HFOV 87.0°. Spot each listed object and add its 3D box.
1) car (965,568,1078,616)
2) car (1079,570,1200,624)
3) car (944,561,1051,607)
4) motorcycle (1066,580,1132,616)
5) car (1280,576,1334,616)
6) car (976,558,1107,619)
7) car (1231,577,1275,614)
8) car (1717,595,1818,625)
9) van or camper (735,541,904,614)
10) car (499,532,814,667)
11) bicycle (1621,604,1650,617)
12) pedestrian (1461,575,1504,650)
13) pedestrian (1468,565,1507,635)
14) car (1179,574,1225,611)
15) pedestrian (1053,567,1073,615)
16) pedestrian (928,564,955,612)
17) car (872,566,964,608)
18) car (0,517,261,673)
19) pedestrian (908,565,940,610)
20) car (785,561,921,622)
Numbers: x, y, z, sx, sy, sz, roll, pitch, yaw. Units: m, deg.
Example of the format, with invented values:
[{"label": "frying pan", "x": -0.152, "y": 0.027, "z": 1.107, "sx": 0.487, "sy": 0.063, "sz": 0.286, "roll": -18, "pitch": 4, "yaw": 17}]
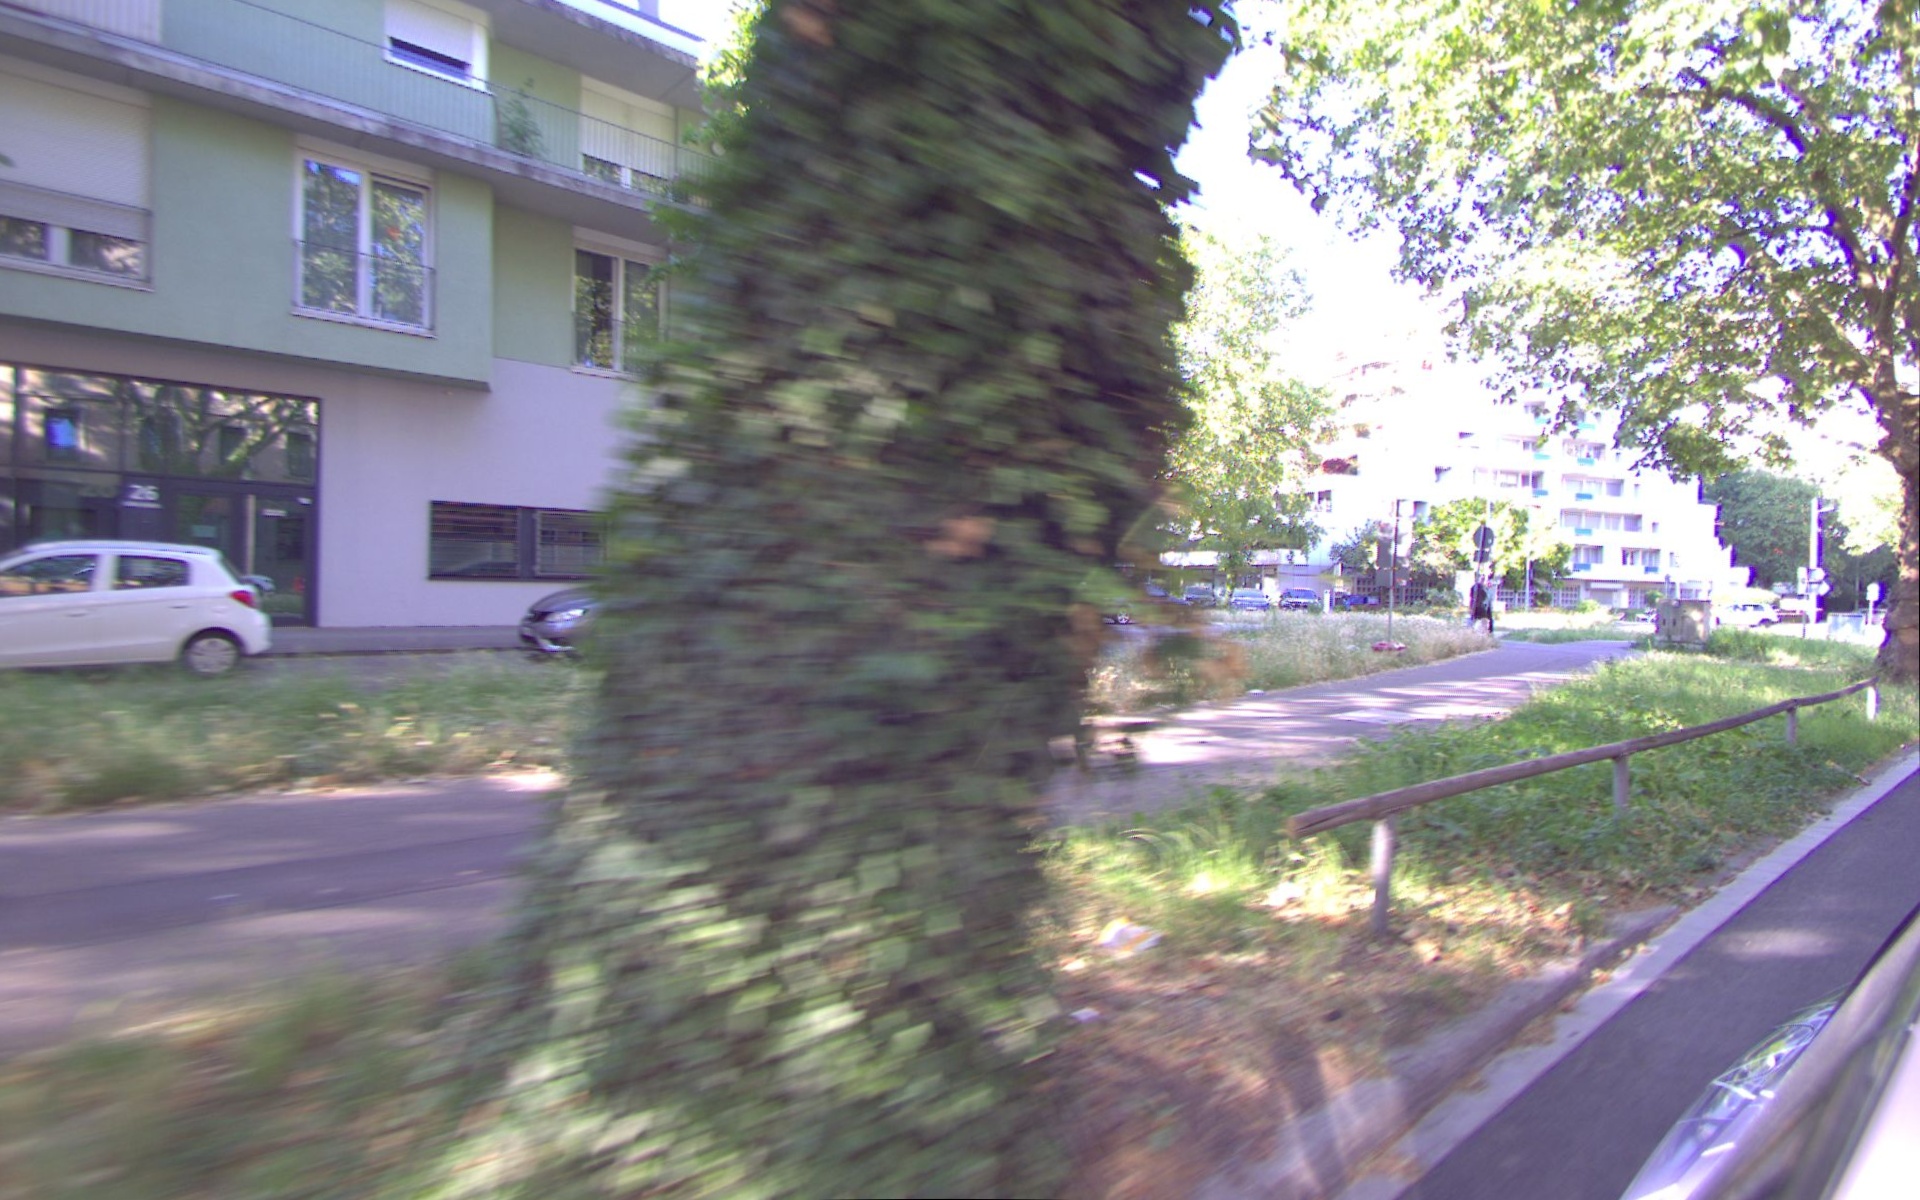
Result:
[{"label": "car", "x": 2.765, "y": -0.345, "z": 45.259, "sx": 4.537, "sy": 1.798, "sz": 2.005, "roll": 4, "pitch": -1, "yaw": -25}, {"label": "car", "x": 6.230, "y": -0.096, "z": 35.048, "sx": 3.906, "sy": 1.542, "sz": 1.678, "roll": 4, "pitch": -1, "yaw": -30}, {"label": "car", "x": 1.777, "y": -0.752, "z": 47.682, "sx": 4.537, "sy": 1.798, "sz": 2.005, "roll": 4, "pitch": -1, "yaw": -25}, {"label": "motorcycle", "x": 5.201, "y": -0.069, "z": 37.827, "sx": 2.269, "sy": 1.263, "sz": 0.953, "roll": 1, "pitch": 1, "yaw": -29}, {"label": "car", "x": 16.557, "y": -0.137, "z": 48.451, "sx": 1.910, "sy": 1.680, "sz": 4.457, "roll": 4, "pitch": 0, "yaw": 14}, {"label": "car", "x": 3.395, "y": -0.451, "z": 42.075, "sx": 4.946, "sy": 2.123, "sz": 2.005, "roll": 4, "pitch": -1, "yaw": -25}, {"label": "car", "x": 14.509, "y": -0.205, "z": 50.286, "sx": 1.802, "sy": 1.607, "sz": 4.349, "roll": 4, "pitch": 0, "yaw": 14}, {"label": "car", "x": 46.528, "y": 0.554, "z": 58.431, "sx": 4.154, "sy": 1.530, "sz": 1.789, "roll": 2, "pitch": 1, "yaw": 21}, {"label": "van or camper", "x": -4.781, "y": -0.741, "z": 34.502, "sx": 5.257, "sy": 2.275, "sz": 2.270, "roll": 1, "pitch": 1, "yaw": -23}, {"label": "car", "x": -4.571, "y": -0.028, "z": 15.589, "sx": 4.244, "sy": 1.793, "sz": 1.908, "roll": 0, "pitch": 1, "yaw": -41}, {"label": "bicycle", "x": 44.894, "y": 0.705, "z": 67.261, "sx": 1.561, "sy": 0.794, "sz": 0.460, "roll": 2, "pitch": 1, "yaw": 27}, {"label": "pedestrian", "x": 14.094, "y": 0.316, "z": 27.306, "sx": 0.835, "sy": 1.956, "sz": 0.771, "roll": 2, "pitch": 1, "yaw": 39}, {"label": "pedestrian", "x": 14.646, "y": -0.007, "z": 28.107, "sx": 0.781, "sy": 1.903, "sz": 0.792, "roll": 2, "pitch": 1, "yaw": 38}, {"label": "car", "x": 12.557, "y": -0.351, "z": 52.358, "sx": 1.850, "sy": 1.659, "sz": 3.972, "roll": 4, "pitch": -1, "yaw": 20}, {"label": "pedestrian", "x": 3.883, "y": -0.343, "z": 37.990, "sx": 0.521, "sy": 1.773, "sz": 0.561, "roll": -1, "pitch": 1, "yaw": -30}, {"label": "pedestrian", "x": -0.729, "y": -0.468, "z": 39.707, "sx": 0.672, "sy": 1.832, "sz": 0.966, "roll": 1, "pitch": 1, "yaw": -25}, {"label": "car", "x": -2.169, "y": -0.670, "z": 53.079, "sx": 1.996, "sy": 1.798, "sz": 4.557, "roll": 4, "pitch": -1, "yaw": 45}, {"label": "car", "x": -10.198, "y": -0.079, "z": 10.874, "sx": 4.244, "sy": 1.562, "sz": 1.862, "roll": 0, "pitch": 2, "yaw": -41}, {"label": "pedestrian", "x": -1.377, "y": -0.497, "z": 39.079, "sx": 0.930, "sy": 1.719, "sz": 0.885, "roll": 1, "pitch": 1, "yaw": -24}, {"label": "car", "x": -3.112, "y": -0.234, "z": 29.395, "sx": 3.484, "sy": 1.473, "sz": 1.679, "roll": 4, "pitch": -1, "yaw": -25}]
